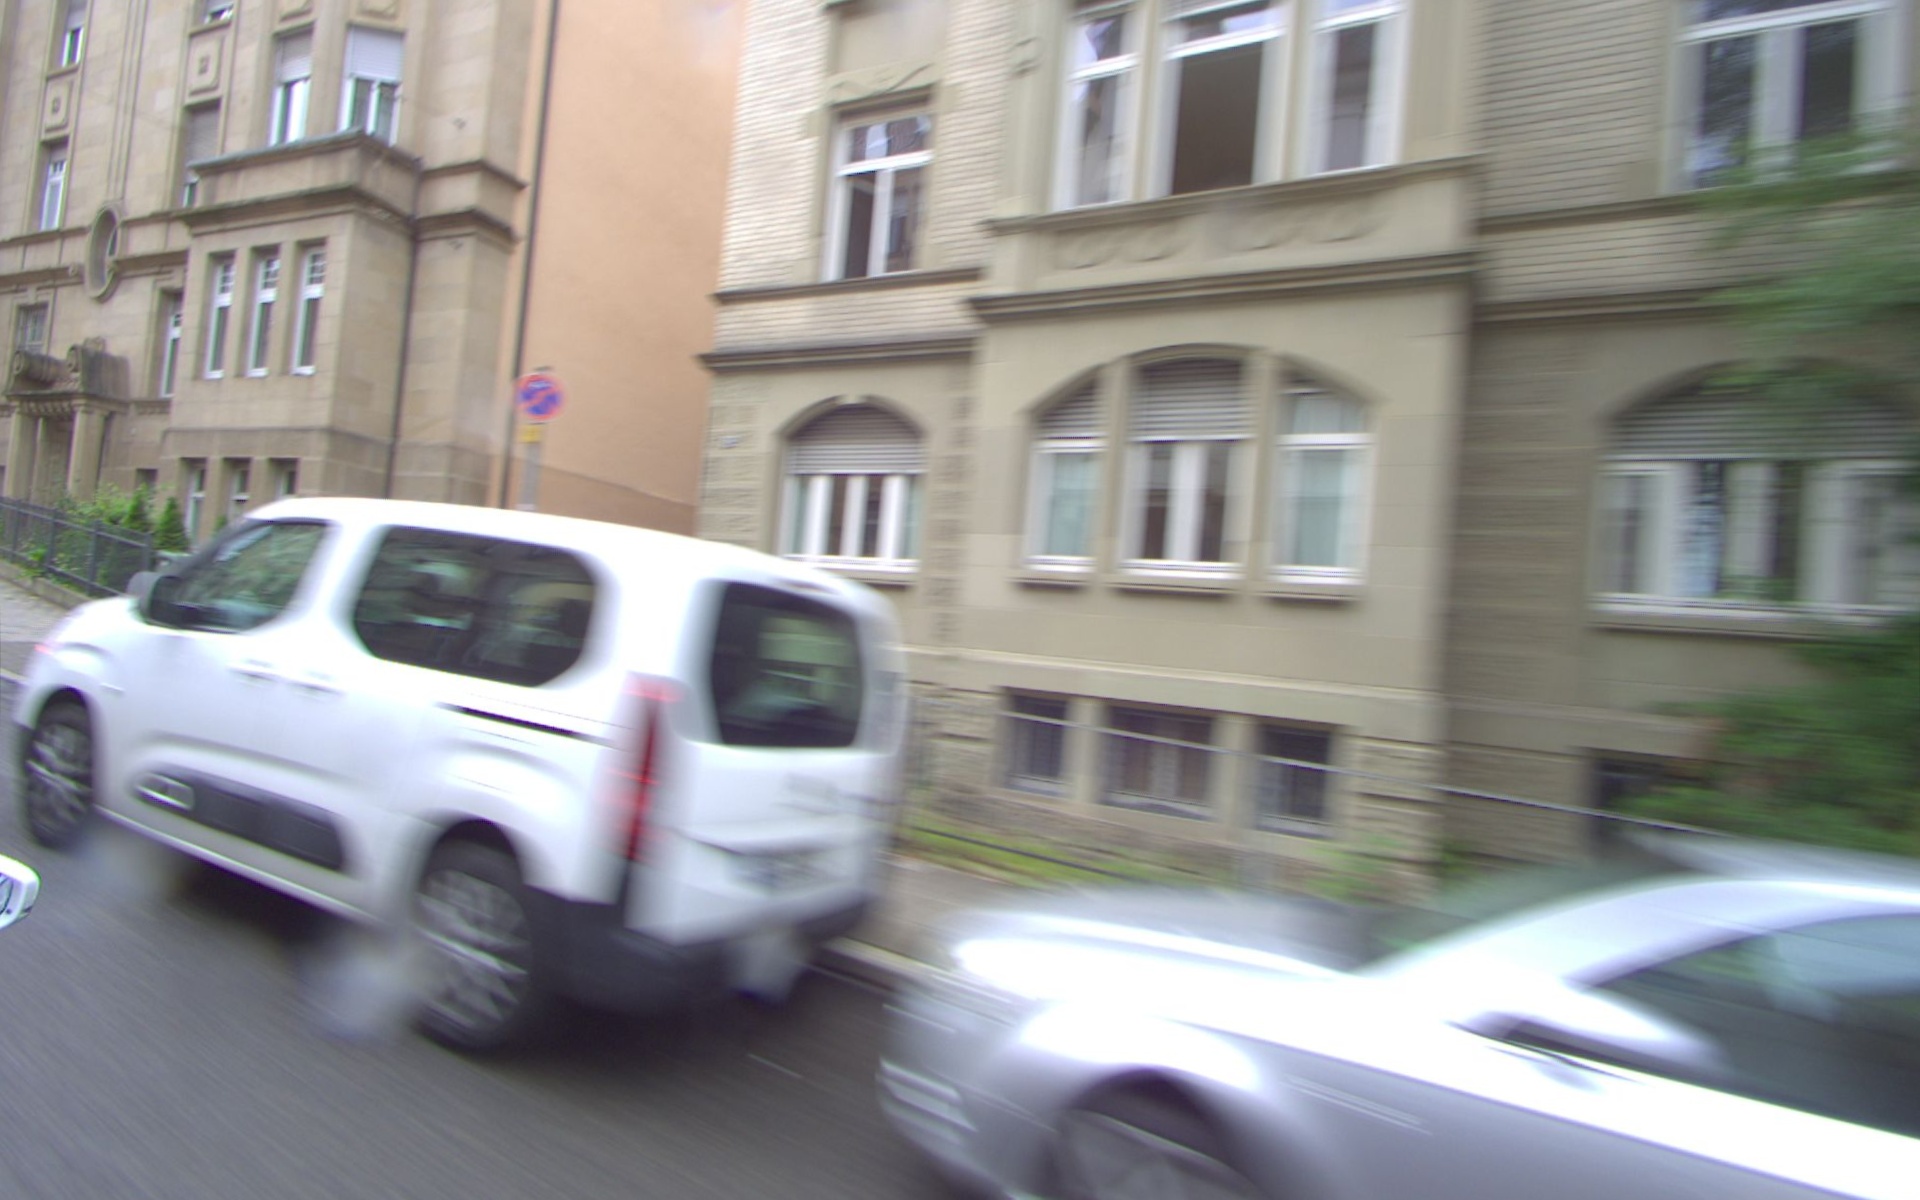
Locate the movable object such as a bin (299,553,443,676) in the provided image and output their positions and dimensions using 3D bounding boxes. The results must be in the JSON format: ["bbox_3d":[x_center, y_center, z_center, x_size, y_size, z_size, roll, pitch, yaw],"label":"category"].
[{"bbox_3d":[-8.156,0.214,13.958,1.256,1.445,0.976,7,-5,25],"label":"movable object such as a bin"}]

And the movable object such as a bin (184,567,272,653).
[{"bbox_3d":[-9.354,0.131,12.864,0.593,0.977,0.540,7,-5,25],"label":"movable object such as a bin"}]

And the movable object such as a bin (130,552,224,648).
[{"bbox_3d":[-9.595,0.004,12.342,0.593,1.036,0.540,7,-5,25],"label":"movable object such as a bin"}]

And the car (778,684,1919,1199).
[{"bbox_3d":[1.946,1.285,2.291,4.400,1.415,1.755,7,-4,29],"label":"car"}]

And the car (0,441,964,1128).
[{"bbox_3d":[-2.441,0.480,4.692,4.384,1.784,1.805,8,-3,27],"label":"car"}]

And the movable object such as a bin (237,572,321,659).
[{"bbox_3d":[-9.102,0.209,13.455,0.593,1.036,0.540,7,-5,25],"label":"movable object such as a bin"}]
